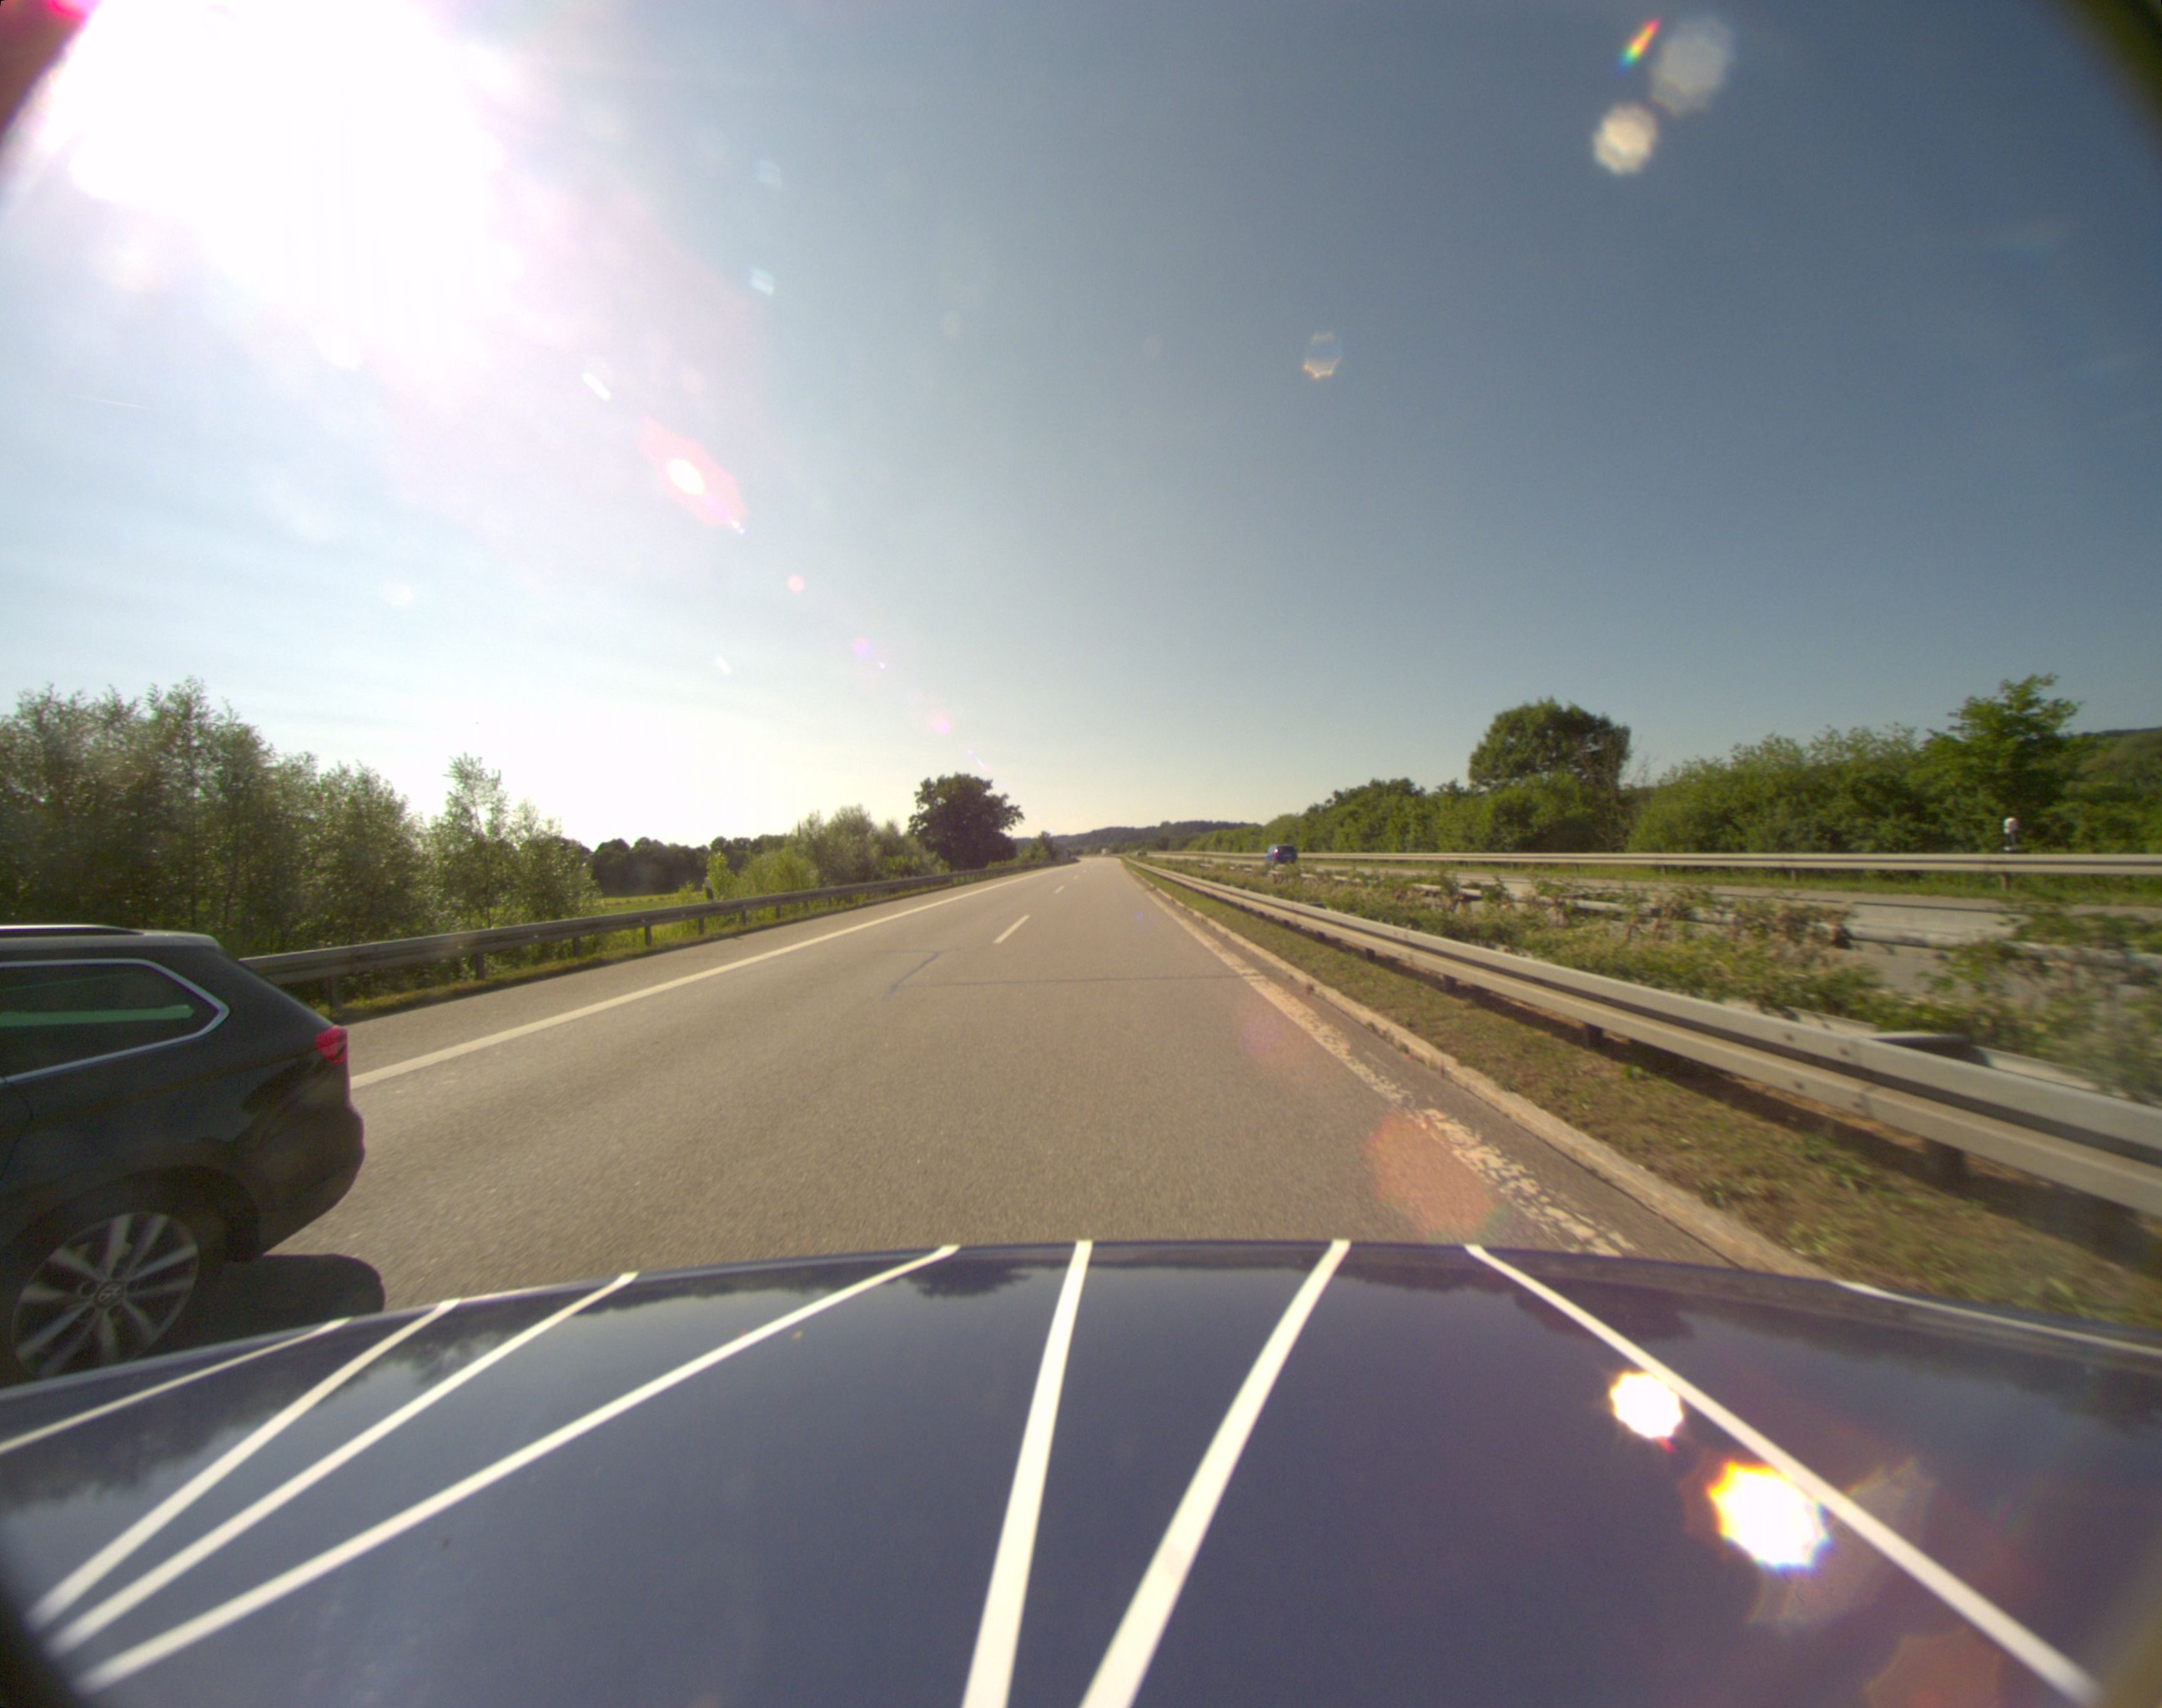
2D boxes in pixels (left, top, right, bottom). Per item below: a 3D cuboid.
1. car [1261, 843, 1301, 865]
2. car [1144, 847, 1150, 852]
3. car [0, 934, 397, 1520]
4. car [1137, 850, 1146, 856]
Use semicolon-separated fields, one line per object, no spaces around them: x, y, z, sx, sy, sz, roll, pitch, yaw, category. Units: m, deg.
13.474;-0.013;51.425;1.680;1.433;4.000;-1;0;1;car
20.361;-1.329;235.754;1.743;1.436;4.768;-3;0;4;car
-3.698;1.069;0.876;1.723;1.392;4.413;-2;1;1;car
16.158;-0.177;203.828;1.914;1.579;4.917;-2;0;0;car
